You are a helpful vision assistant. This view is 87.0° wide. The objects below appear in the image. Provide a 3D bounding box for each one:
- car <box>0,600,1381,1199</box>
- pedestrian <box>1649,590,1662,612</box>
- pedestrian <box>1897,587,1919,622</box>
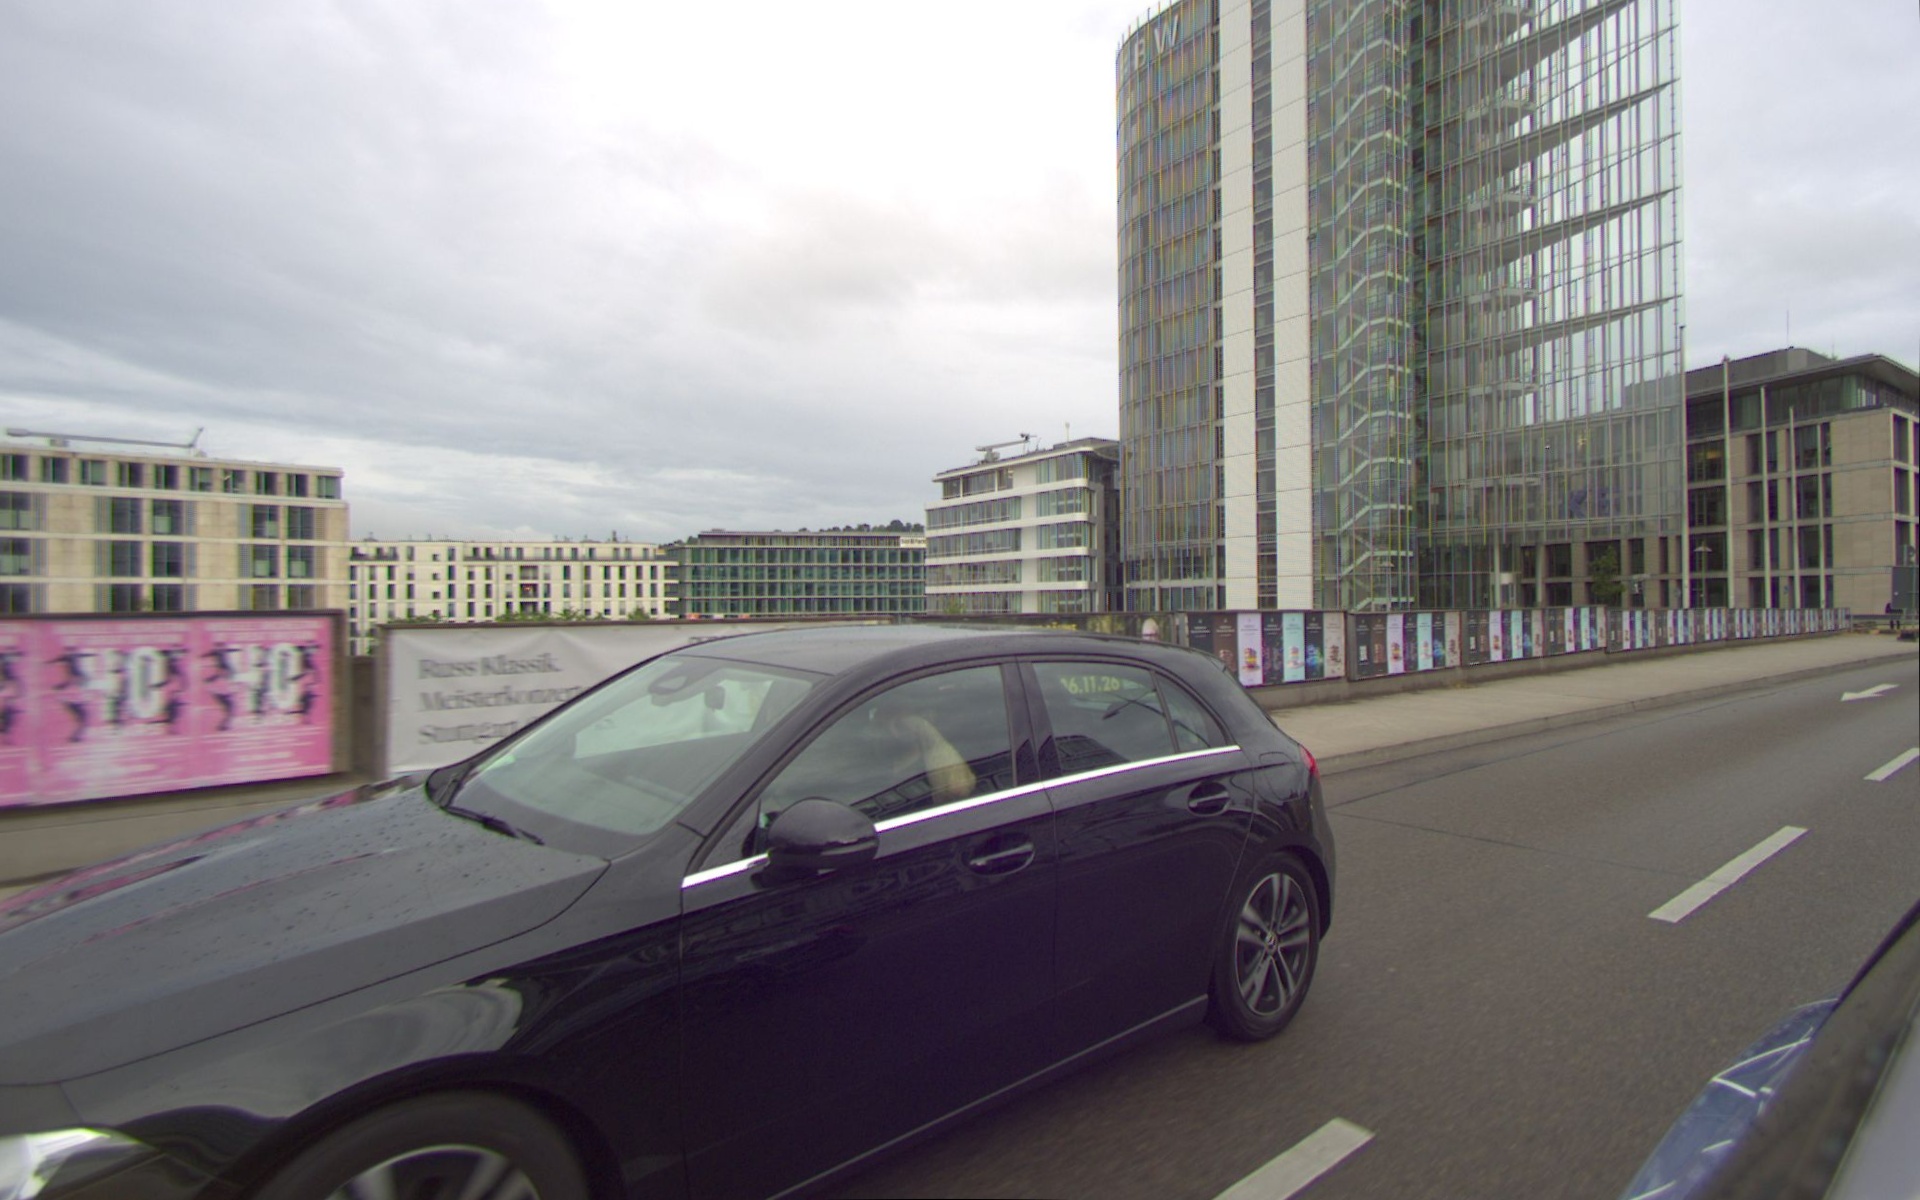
[{"bbox_3d":[-0.511,0.747,3.103,4.084,1.393,1.726,-2,1,-41],"label":"car"},{"bbox_3d":[56.352,0.068,81.992,0.621,1.767,0.637,-1,0,-15],"label":"pedestrian"},{"bbox_3d":[44.558,0.224,47.555,0.537,1.632,0.660,0,-1,-35],"label":"pedestrian"}]
